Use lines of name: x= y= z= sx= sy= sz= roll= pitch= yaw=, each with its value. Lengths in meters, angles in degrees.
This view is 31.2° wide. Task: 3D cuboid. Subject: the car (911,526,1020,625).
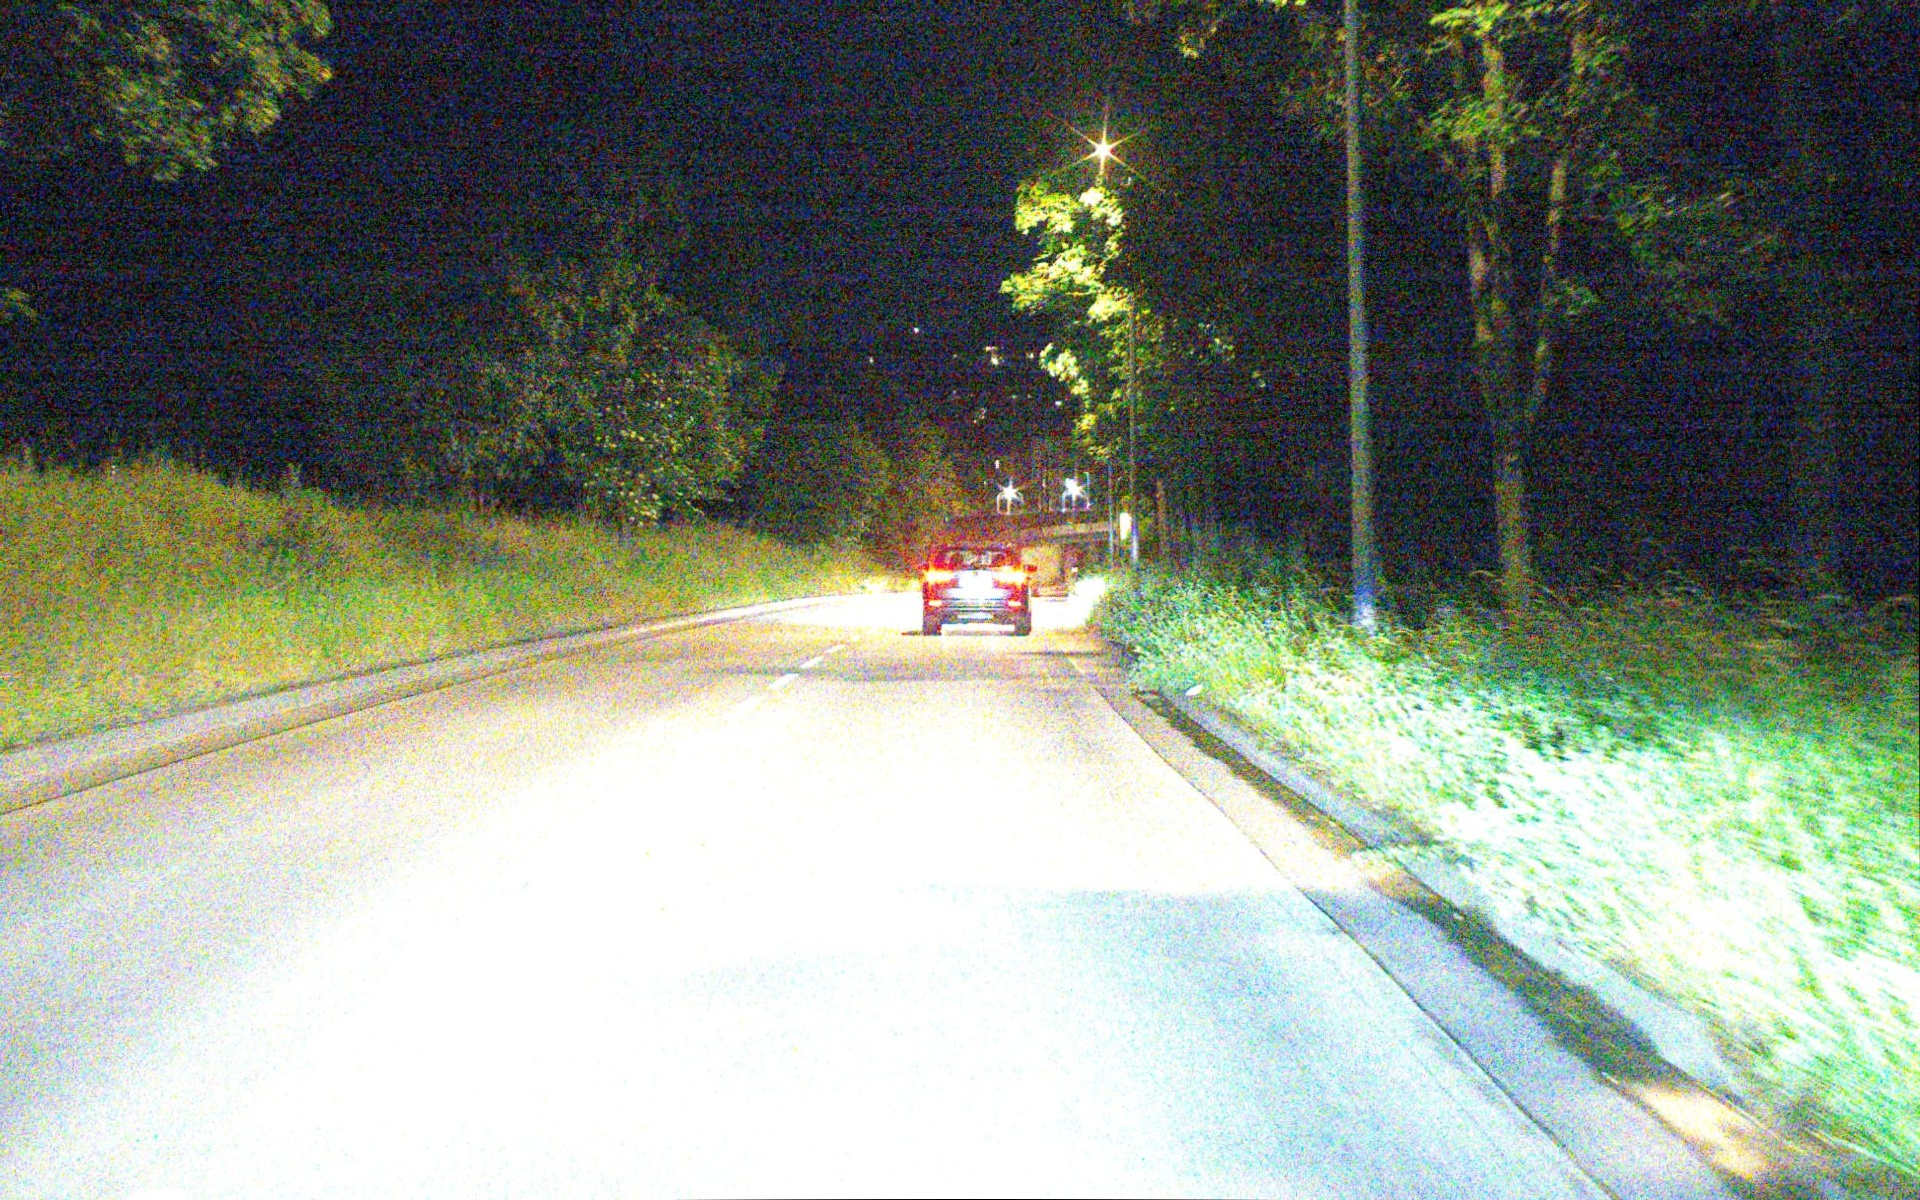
car: x=0.066 y=-0.424 z=58.585 sx=1.763 sy=1.636 sz=3.723 roll=0 pitch=1 yaw=-1

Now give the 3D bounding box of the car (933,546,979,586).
car: x=-0.134 y=-1.281 z=129.709 sx=1.687 sy=1.452 sz=4.000 roll=1 pitch=1 yaw=1
